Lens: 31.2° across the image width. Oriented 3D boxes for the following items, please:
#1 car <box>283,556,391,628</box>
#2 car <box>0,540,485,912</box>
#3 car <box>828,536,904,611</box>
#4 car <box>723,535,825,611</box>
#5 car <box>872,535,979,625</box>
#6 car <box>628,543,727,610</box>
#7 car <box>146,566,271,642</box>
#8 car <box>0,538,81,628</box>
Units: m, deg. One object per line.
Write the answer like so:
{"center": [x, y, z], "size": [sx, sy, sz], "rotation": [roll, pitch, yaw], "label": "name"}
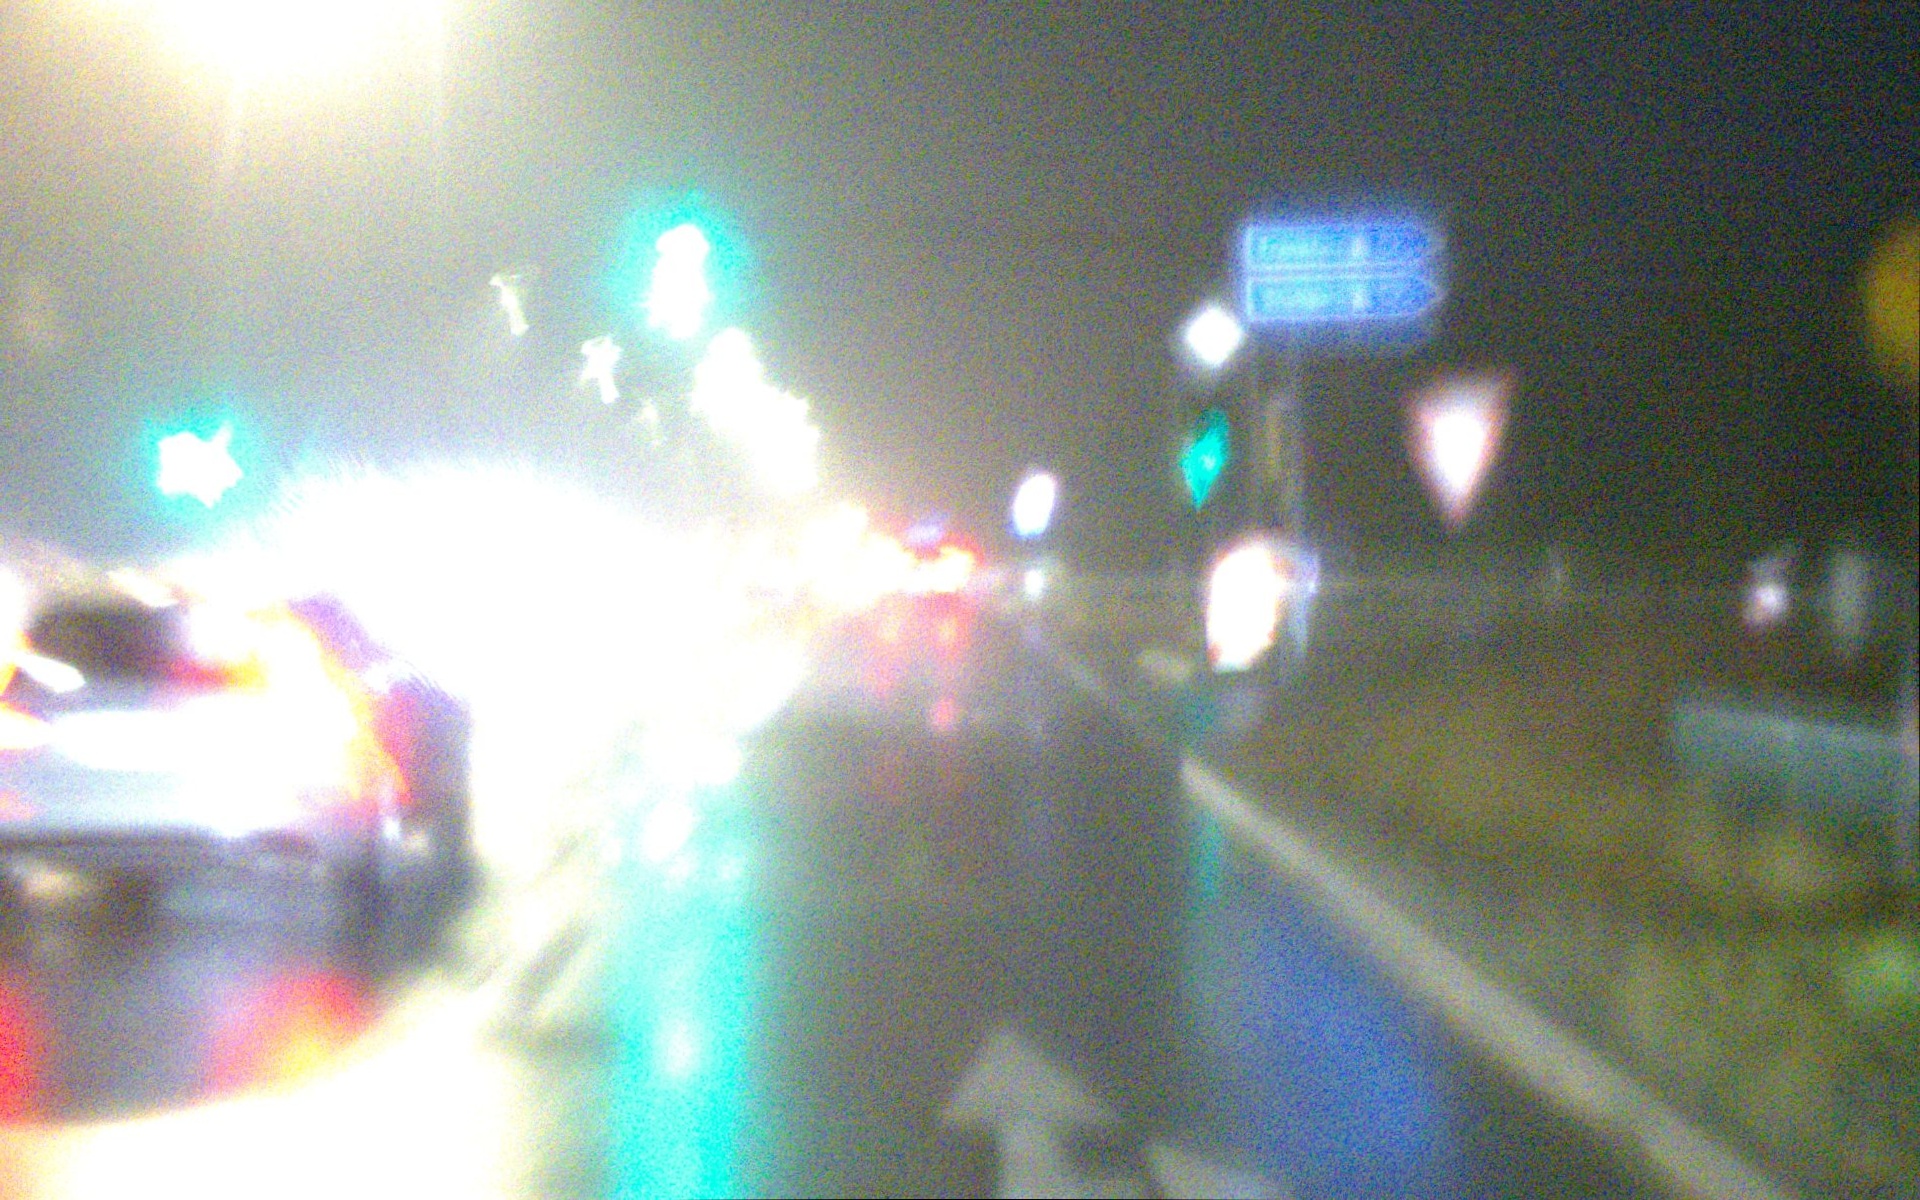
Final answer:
{"center": [-12.785, -0.184, 70.722], "size": [1.589, 1.422, 3.350], "rotation": [0, 1, 0], "label": "car"}
{"center": [-3.303, 0.455, 15.526], "size": [1.796, 1.447, 4.269], "rotation": [0, 1, -1], "label": "car"}
{"center": [-2.715, -0.754, 100.184], "size": [1.993, 1.832, 3.999], "rotation": [5, -2, 0], "label": "car"}
{"center": [-4.557, -0.646, 84.702], "size": [2.177, 1.596, 4.000], "rotation": [4, -2, 0], "label": "car"}
{"center": [-0.693, -0.395, 71.831], "size": [1.910, 1.596, 3.999], "rotation": [4, -2, 3], "label": "car"}
{"center": [-7.953, -0.648, 97.266], "size": [2.178, 1.596, 3.999], "rotation": [4, -2, 3], "label": "car"}
{"center": [-16.534, 0.068, 75.806], "size": [1.782, 1.603, 4.244], "rotation": [0, 1, 1], "label": "car"}
{"center": [-20.265, -0.392, 73.784], "size": [1.762, 1.886, 4.206], "rotation": [0, 1, -1], "label": "car"}
